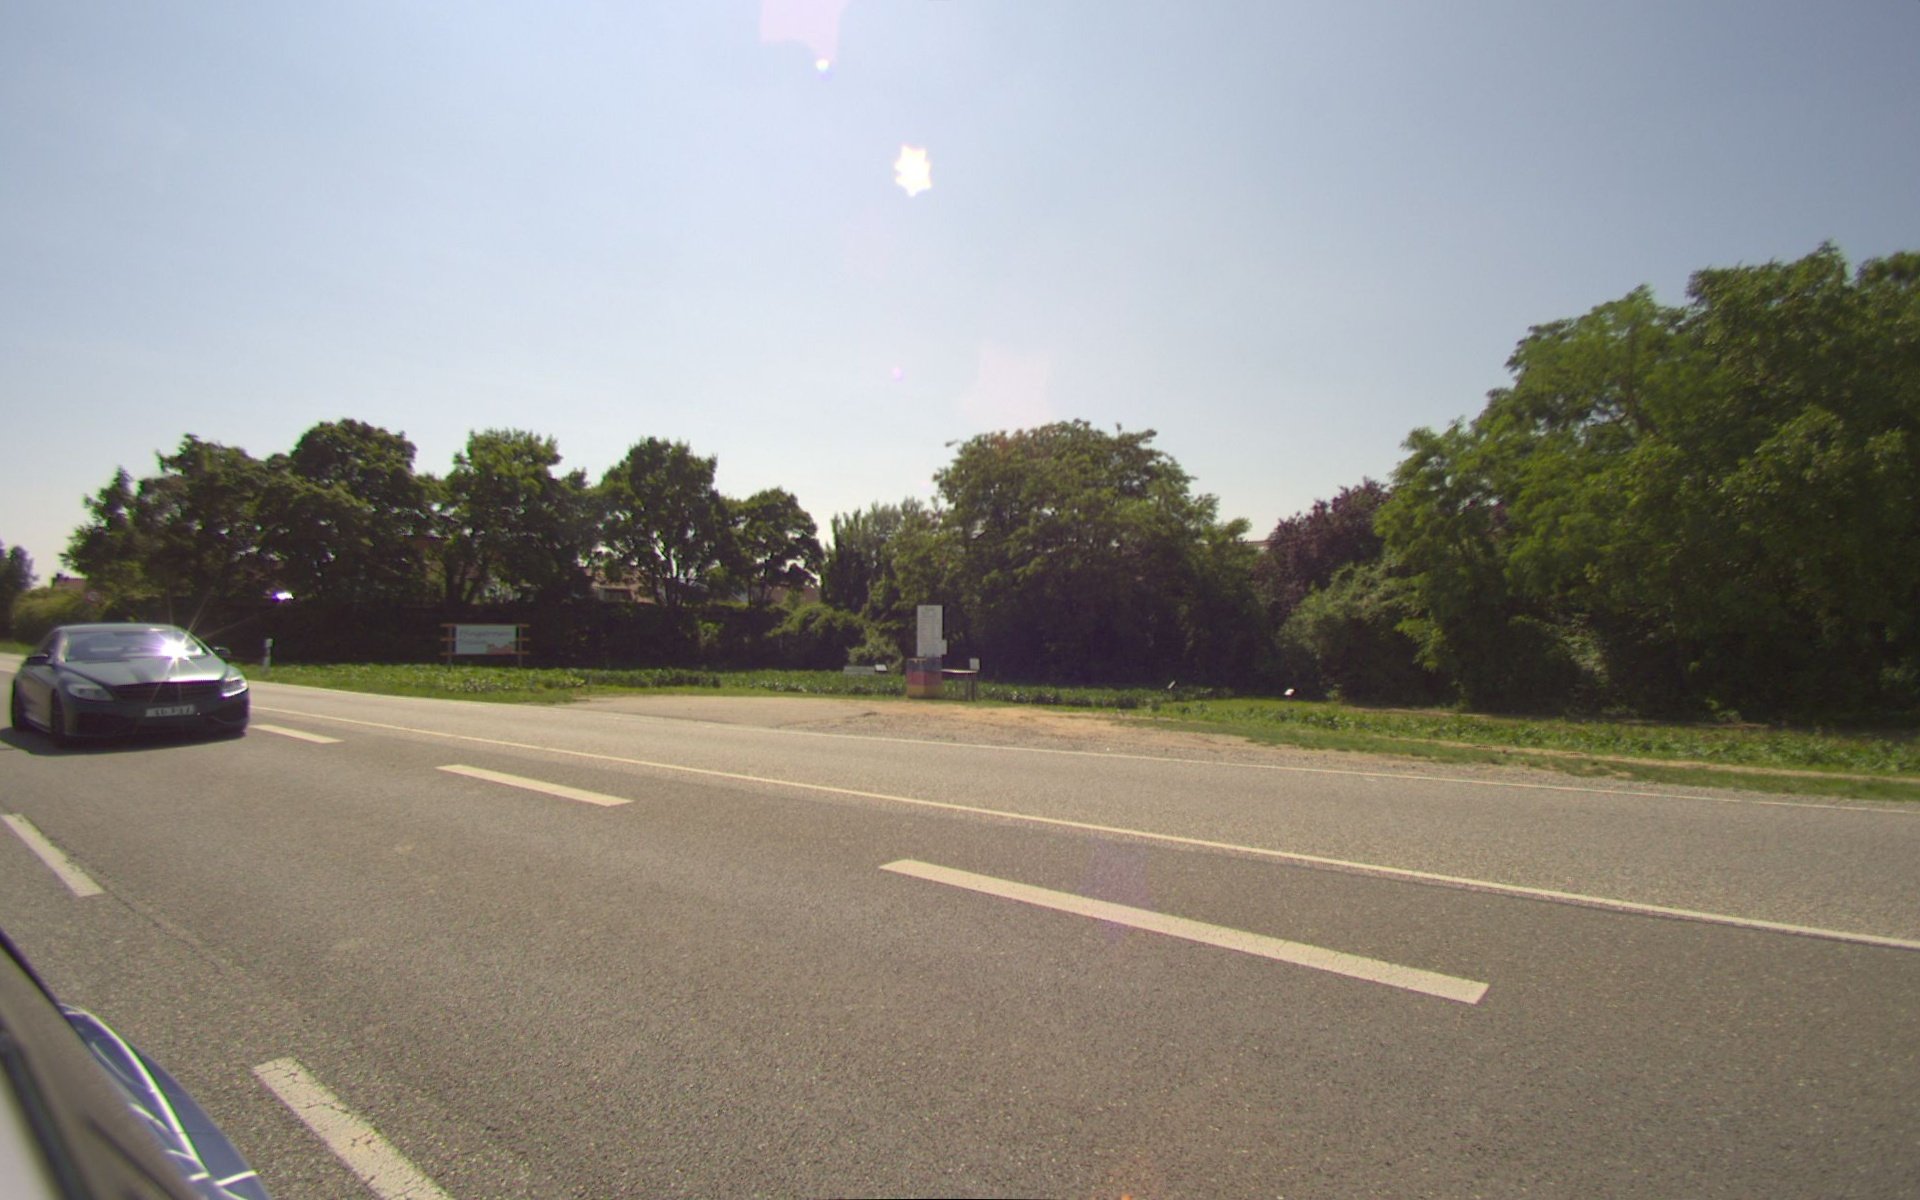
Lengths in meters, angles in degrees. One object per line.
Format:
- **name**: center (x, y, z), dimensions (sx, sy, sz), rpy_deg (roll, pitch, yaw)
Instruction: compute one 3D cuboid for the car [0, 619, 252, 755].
- **car**: center (-11.123, 1.010, 13.347), dimensions (4.874, 1.461, 1.792), rpy_deg (-2, -1, 41)
